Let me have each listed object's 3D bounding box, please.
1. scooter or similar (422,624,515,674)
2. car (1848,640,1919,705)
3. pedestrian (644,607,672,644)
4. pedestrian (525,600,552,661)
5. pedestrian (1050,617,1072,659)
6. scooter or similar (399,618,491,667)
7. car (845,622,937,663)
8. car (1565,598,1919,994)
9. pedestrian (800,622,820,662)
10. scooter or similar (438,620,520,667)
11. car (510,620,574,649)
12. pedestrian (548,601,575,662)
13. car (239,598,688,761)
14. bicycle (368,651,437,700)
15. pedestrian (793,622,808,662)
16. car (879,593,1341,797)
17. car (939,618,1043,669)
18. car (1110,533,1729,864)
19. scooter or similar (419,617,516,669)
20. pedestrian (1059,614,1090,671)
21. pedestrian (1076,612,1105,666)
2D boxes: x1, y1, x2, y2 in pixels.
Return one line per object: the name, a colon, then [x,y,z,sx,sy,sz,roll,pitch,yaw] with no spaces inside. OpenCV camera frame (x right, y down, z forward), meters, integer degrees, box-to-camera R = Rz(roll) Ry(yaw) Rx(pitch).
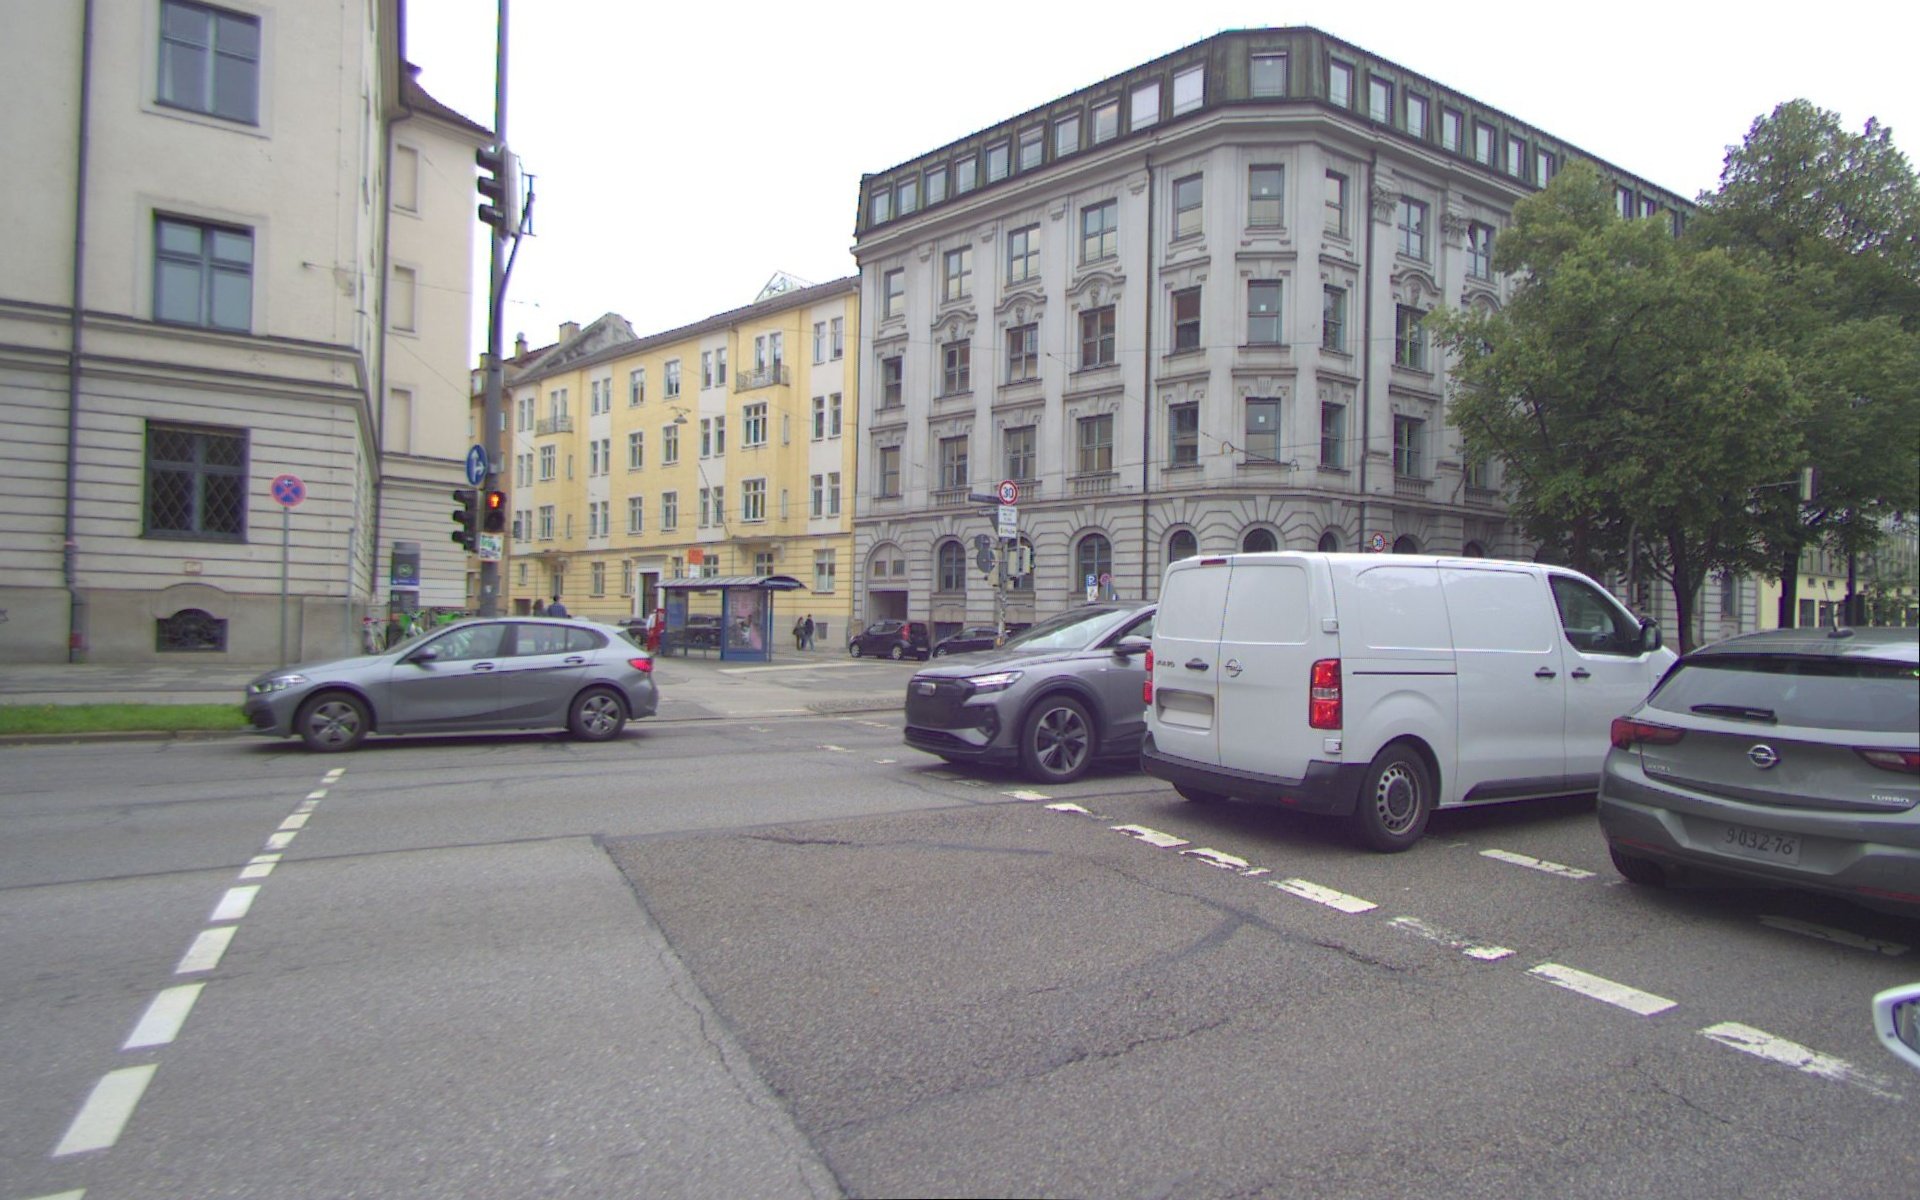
scooter or similar: [-11.671,1.169,23.868,1.924,1.134,0.685,2,0,-30]
car: [25.172,1.874,26.392,3.899,1.592,1.627,2,-2,-30]
pedestrian: [-13.503,1.142,44.897,0.865,1.597,0.859,-1,-2,42]
pedestrian: [-13.128,0.950,31.306,0.652,1.877,0.802,2,0,-29]
pedestrian: [3.919,1.472,39.040,0.568,1.617,0.645,2,0,40]
scooter or similar: [-12.477,1.033,24.413,1.921,1.134,0.686,2,0,-24]
car: [-2.785,1.656,40.054,3.522,1.538,1.685,-1,-2,42]
car: [5.298,0.841,5.504,3.953,1.572,1.702,2,0,-30]
pedestrian: [-7.098,1.972,47.507,0.670,1.879,0.625,0,-2,40]
scooter or similar: [-12.540,1.134,26.208,1.879,1.173,0.685,2,0,-30]
car: [-24.527,2.028,58.873,3.665,1.617,1.991,-1,-2,39]
pedestrian: [-12.536,0.969,31.558,0.652,1.877,0.802,2,0,-29]
car: [-5.627,0.875,11.792,4.393,1.607,1.714,2,-2,-30]
bicycle: [-11.704,1.573,21.086,1.252,0.959,0.406,2,0,7]
pedestrian: [-7.472,1.959,47.052,0.463,1.879,0.500,0,-2,40]
car: [1.539,0.834,9.754,4.323,1.607,1.714,2,-2,-30]
car: [1.078,1.547,36.288,3.522,1.753,1.685,-1,-2,42]
car: [3.681,0.652,7.747,4.898,1.872,1.889,2,-2,-30]
scooter or similar: [-11.262,0.981,23.036,1.921,1.134,0.686,2,0,-24]
pedestrian: [4.238,1.555,37.212,0.768,2.040,0.799,2,0,40]
pedestrian: [4.994,1.486,38.421,0.768,2.040,0.799,2,0,40]
